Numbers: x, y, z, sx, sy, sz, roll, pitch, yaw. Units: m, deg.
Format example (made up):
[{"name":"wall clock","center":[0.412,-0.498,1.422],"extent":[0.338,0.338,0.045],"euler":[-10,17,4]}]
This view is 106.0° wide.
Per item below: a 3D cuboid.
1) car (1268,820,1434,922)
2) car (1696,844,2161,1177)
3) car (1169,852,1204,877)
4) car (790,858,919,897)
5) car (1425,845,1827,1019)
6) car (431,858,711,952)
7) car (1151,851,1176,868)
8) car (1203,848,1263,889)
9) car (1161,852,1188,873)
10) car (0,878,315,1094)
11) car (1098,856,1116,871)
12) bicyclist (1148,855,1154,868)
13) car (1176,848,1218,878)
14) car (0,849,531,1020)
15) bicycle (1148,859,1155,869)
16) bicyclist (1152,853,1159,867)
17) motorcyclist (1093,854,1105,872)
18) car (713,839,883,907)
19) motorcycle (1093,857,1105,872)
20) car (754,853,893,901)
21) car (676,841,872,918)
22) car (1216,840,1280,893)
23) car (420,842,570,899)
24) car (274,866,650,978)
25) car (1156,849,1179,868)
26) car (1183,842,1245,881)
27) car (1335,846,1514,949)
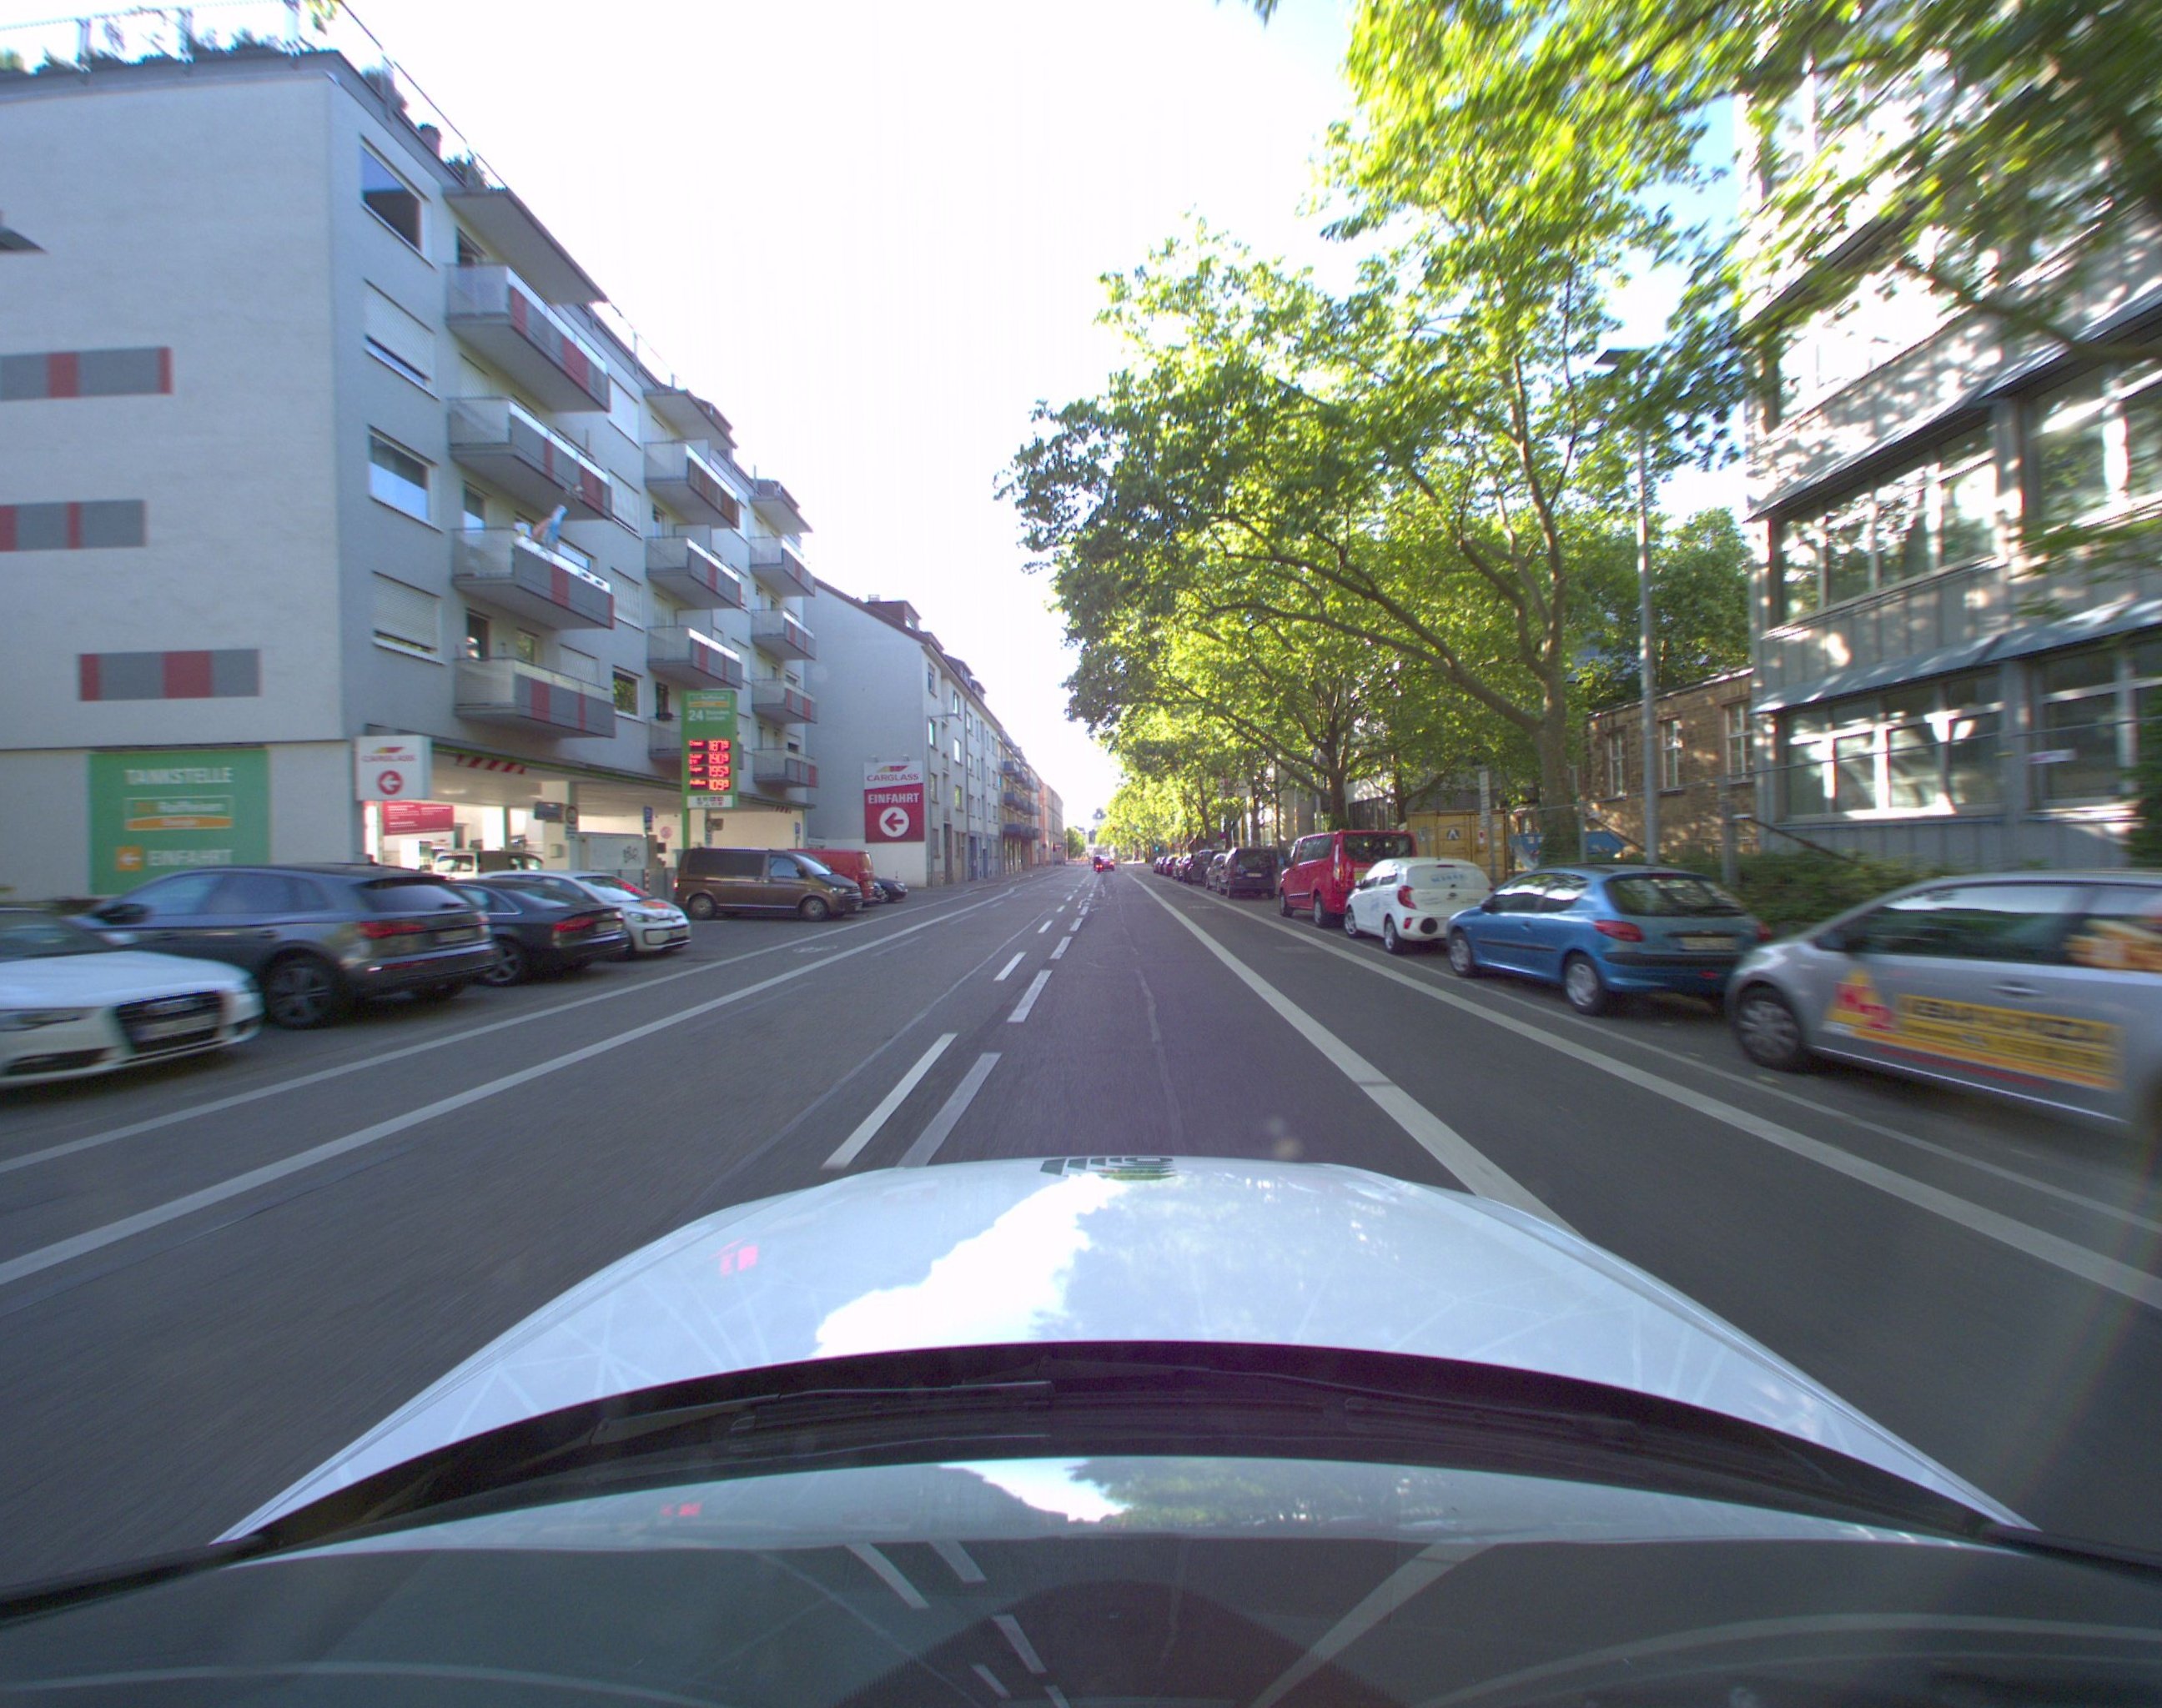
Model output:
[{"name":"car","center":[5.877,0.369,18.528],"extent":[2.071,1.994,5.170],"euler":[0,-1,0]},{"name":"car","center":[5.609,0.706,4.657],"extent":[1.608,1.475,3.493],"euler":[0,0,1]},{"name":"car","center":[6.641,0.688,51.657],"extent":[1.688,1.503,4.018],"euler":[0,-1,-1]},{"name":"car","center":[-8.388,0.863,30.442],"extent":[4.213,1.380,2.046],"euler":[0,-1,1]},{"name":"car","center":[5.617,0.699,9.108],"extent":[1.850,1.511,3.927],"euler":[1,0,-1]},{"name":"car","center":[-8.742,0.839,14.205],"extent":[3.672,1.513,1.831],"euler":[0,-1,1]},{"name":"car","center":[7.195,0.465,71.328],"extent":[1.688,1.449,4.434],"euler":[0,-1,-1]},{"name":"car","center":[6.350,0.595,34.408],"extent":[1.688,1.628,4.328],"euler":[0,-1,-1]},{"name":"car","center":[6.973,0.639,60.948],"extent":[1.686,1.479,4.320],"euler":[0,-1,2]},{"name":"car","center":[-9.009,0.948,6.533],"extent":[3.972,1.433,1.853],"euler":[-1,-1,1]},{"name":"car","center":[2.677,0.973,84.398],"extent":[1.822,1.420,3.815],"euler":[-1,-1,1]},{"name":"bicyclist","center":[8.435,0.924,97.839],"extent":[0.654,1.530,0.906],"euler":[0,-1,1]},{"name":"car","center":[6.546,0.505,46.392],"extent":[1.770,1.628,4.620],"euler":[0,-1,0]},{"name":"car","center":[-9.000,0.822,9.195],"extent":[4.179,1.684,2.028],"euler":[-1,-1,1]},{"name":"bicycle","center":[8.434,1.213,97.761],"extent":[0.654,1.111,2.186],"euler":[0,-1,1]},{"name":"bicyclist","center":[8.184,0.658,89.370],"extent":[0.654,1.530,0.852],"euler":[0,-1,1]},{"name":"motorcyclist","center":[1.613,0.807,73.170],"extent":[1.008,1.602,1.406],"euler":[-2,-1,1]},{"name":"car","center":[-8.601,0.564,25.072],"extent":[4.404,1.952,2.147],"euler":[1,-1,1]},{"name":"motorcycle","center":[1.620,0.972,73.159],"extent":[1.008,1.306,2.673],"euler":[-2,-1,1]},{"name":"car","center":[-8.826,0.773,28.146],"extent":[4.157,1.563,1.887],"euler":[1,-1,1]},{"name":"car","center":[-8.291,0.674,22.313],"extent":[4.506,1.952,2.057],"euler":[1,-1,1]},{"name":"car","center":[6.039,0.457,29.873],"extent":[1.686,1.813,4.133],"euler":[0,-1,3]},{"name":"car","center":[-19.969,0.576,28.019],"extent":[1.714,1.747,4.586],"euler":[-2,-1,2]},{"name":"car","center":[-8.764,0.926,11.820],"extent":[3.972,1.456,1.916],"euler":[-1,-1,1]},{"name":"car","center":[7.030,0.395,66.515],"extent":[1.686,1.466,4.068],"euler":[0,-1,3]},{"name":"car","center":[6.647,0.367,41.133],"extent":[1.823,1.841,4.888],"euler":[0,-1,-7]},{"name":"car","center":[5.572,0.650,13.712],"extent":[1.631,1.485,3.762],"euler":[0,-1,3]}]
